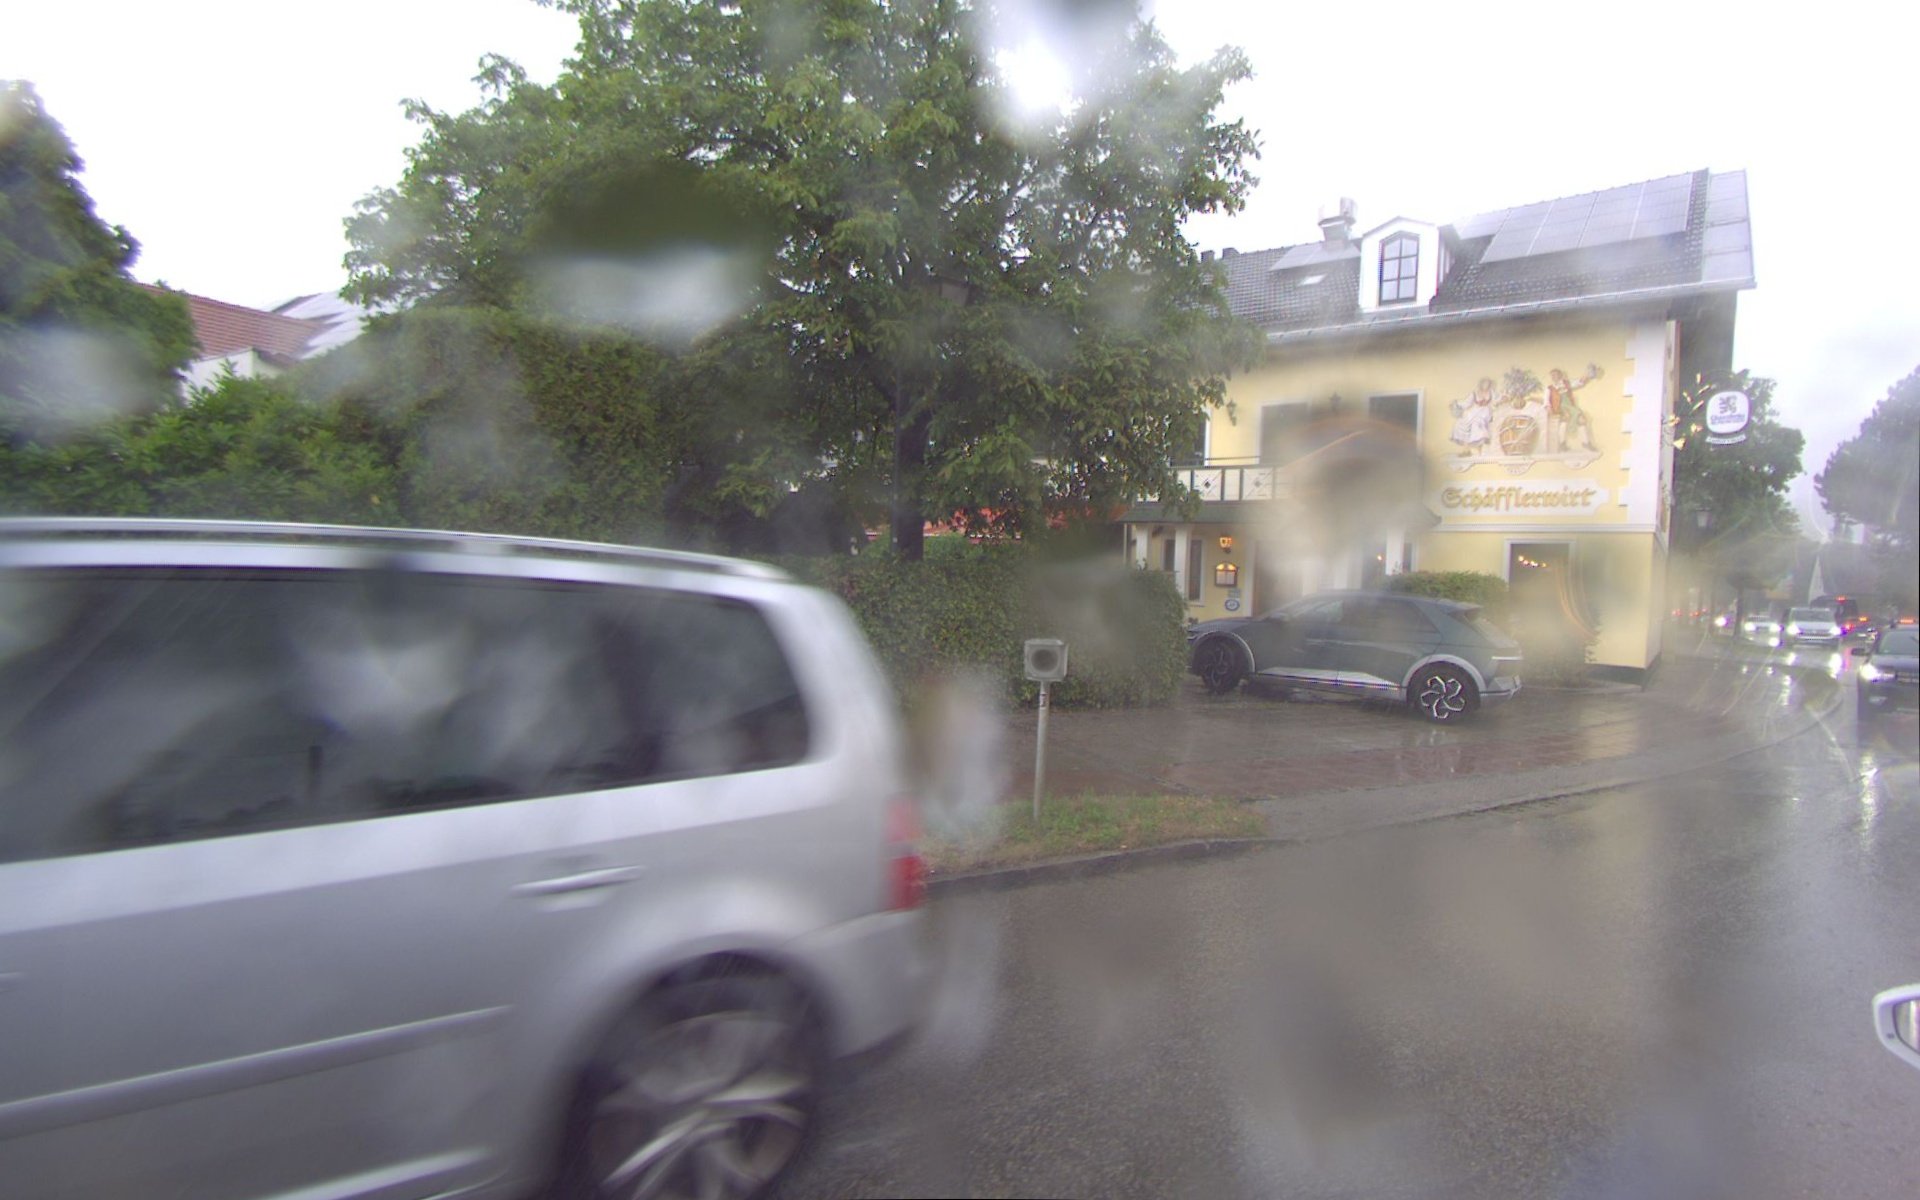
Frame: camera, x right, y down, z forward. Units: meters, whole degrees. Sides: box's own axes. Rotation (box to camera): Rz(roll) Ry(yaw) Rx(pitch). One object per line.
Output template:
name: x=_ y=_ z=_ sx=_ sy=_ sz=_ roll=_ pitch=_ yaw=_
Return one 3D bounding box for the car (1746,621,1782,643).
car: x=56.094 y=2.212 z=70.119 sx=1.839 sy=1.377 sz=4.465 roll=0 pitch=0 yaw=37

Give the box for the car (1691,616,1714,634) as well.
car: x=75.168 y=2.568 z=101.664 sx=1.839 sy=1.781 sz=4.465 roll=-2 pitch=-2 yaw=37

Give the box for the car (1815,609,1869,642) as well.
car: x=58.202 y=1.635 z=66.373 sx=2.141 sy=1.925 sz=4.996 roll=3 pitch=2 yaw=36

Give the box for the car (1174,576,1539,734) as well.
car: x=5.504 y=0.621 z=14.194 sx=4.415 sy=1.589 sz=1.833 roll=6 pitch=5 yaw=35

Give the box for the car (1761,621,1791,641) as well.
car: x=88.466 y=3.298 z=108.898 sx=2.141 sy=1.925 sz=4.996 roll=3 pitch=2 yaw=36

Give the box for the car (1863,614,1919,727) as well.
car: x=15.285 y=1.077 z=15.742 sx=1.570 sy=1.631 sz=3.518 roll=1 pitch=-1 yaw=44

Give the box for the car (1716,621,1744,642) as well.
car: x=66.753 y=2.698 z=87.132 sx=1.839 sy=1.781 sz=4.465 roll=-2 pitch=-2 yaw=37

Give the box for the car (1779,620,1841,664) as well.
car: x=41.078 y=2.008 z=48.639 sx=1.826 sy=1.997 sz=4.687 roll=1 pitch=-1 yaw=35

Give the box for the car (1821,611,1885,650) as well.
car: x=50.881 y=1.698 z=57.302 sx=2.141 sy=1.925 sz=4.996 roll=3 pitch=2 yaw=36

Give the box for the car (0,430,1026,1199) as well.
car: x=-1.951 y=0.584 z=2.388 sx=3.957 sy=1.700 sz=1.743 roll=2 pitch=-1 yaw=-33

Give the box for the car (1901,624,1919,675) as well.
car: x=39.018 y=2.004 z=39.562 sx=2.141 sy=1.925 sz=4.996 roll=3 pitch=2 yaw=36
